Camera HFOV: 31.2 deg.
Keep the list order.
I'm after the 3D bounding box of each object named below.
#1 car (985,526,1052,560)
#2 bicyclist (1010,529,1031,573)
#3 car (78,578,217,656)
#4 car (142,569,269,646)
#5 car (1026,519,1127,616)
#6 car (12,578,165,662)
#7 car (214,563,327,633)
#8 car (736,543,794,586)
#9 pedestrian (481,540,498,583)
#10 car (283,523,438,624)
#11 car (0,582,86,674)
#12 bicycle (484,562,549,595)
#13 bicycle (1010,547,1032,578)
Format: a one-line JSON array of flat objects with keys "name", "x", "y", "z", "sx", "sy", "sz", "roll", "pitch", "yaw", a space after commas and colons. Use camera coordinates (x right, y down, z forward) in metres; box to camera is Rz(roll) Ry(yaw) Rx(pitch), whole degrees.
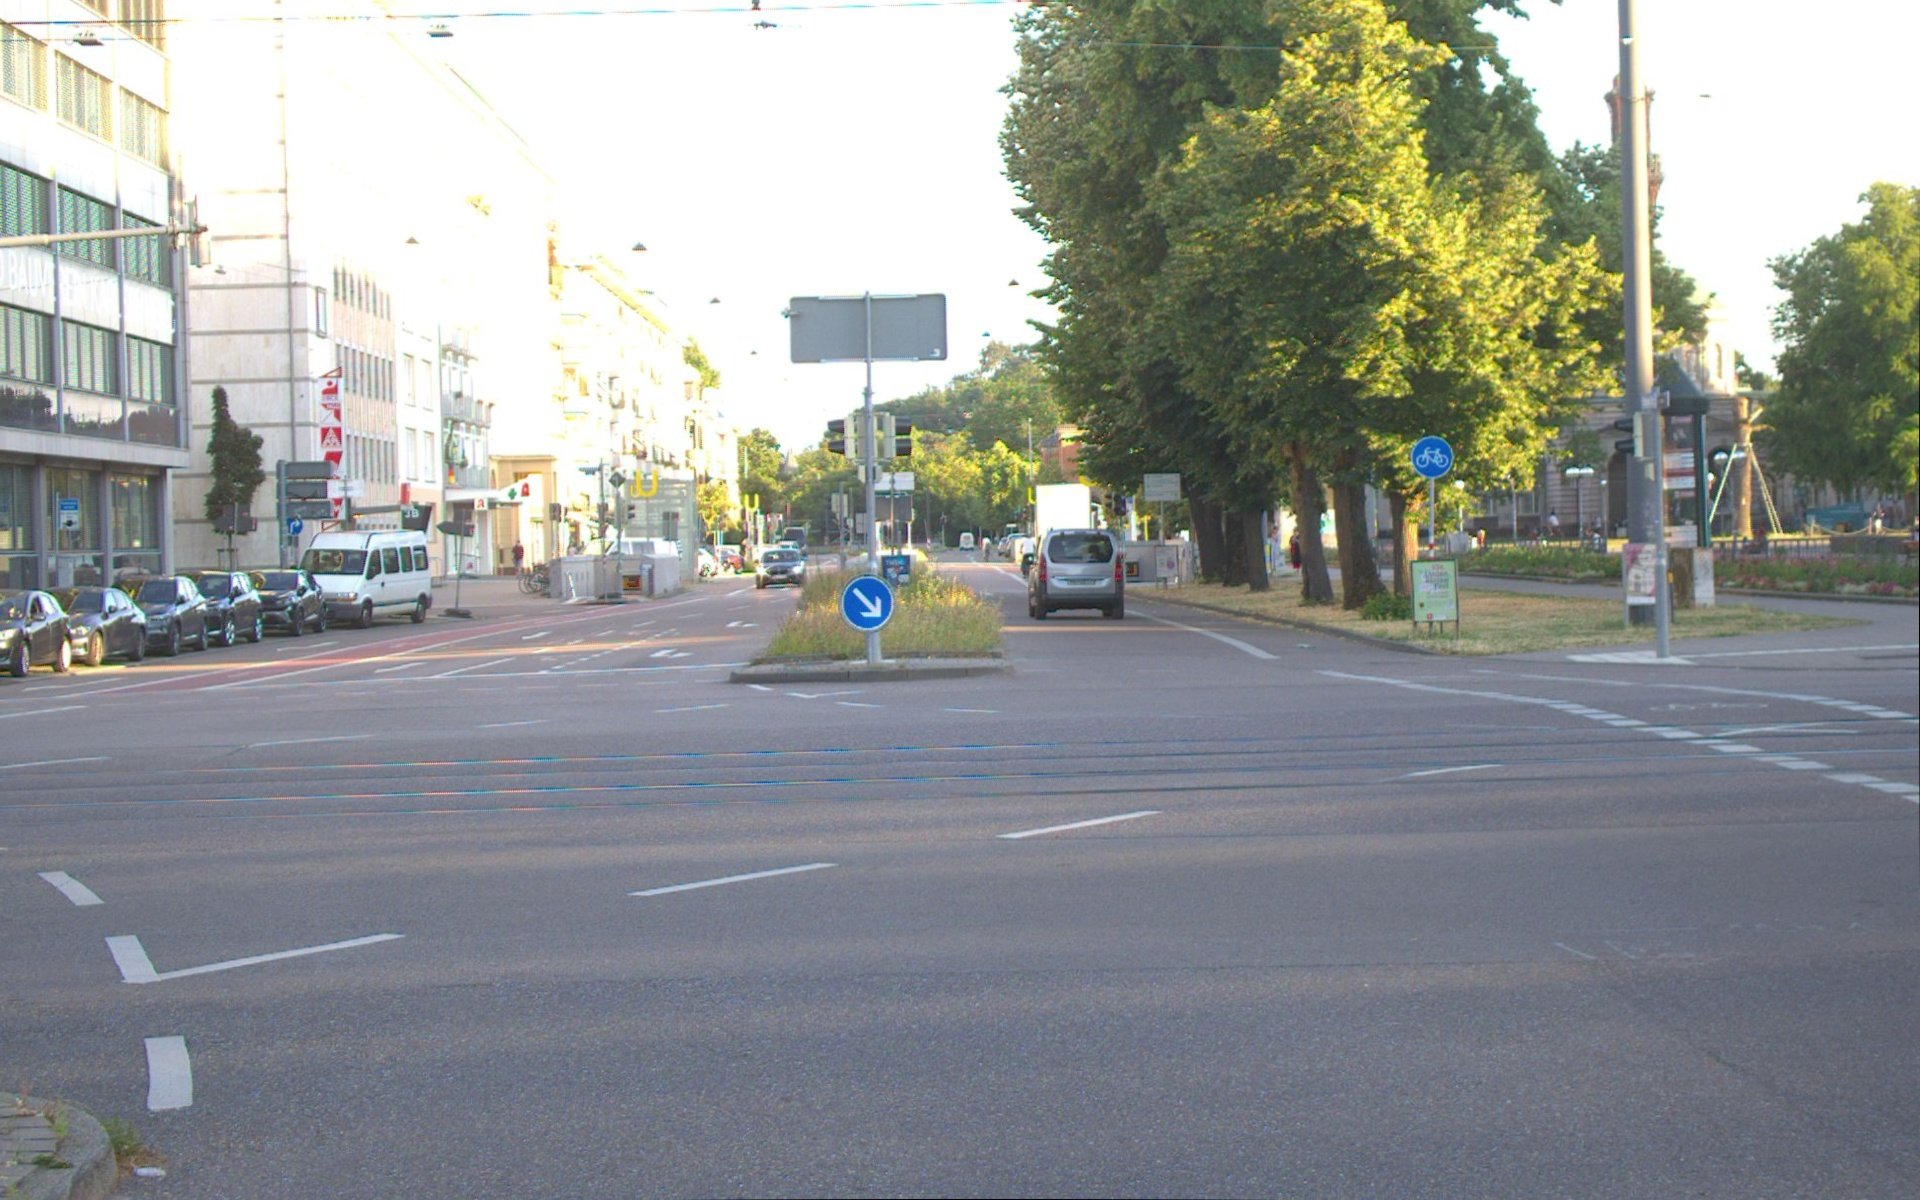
[{"name": "car", "x": 3.633, "y": -3.559, "z": 214.427, "sx": 3.986, "sy": 2.007, "sz": 2.000, "roll": -2, "pitch": 1, "yaw": -4}, {"name": "bicyclist", "x": 2.280, "y": -1.848, "z": 129.888, "sx": 0.746, "sy": 1.658, "sz": 0.873, "roll": -2, "pitch": 1, "yaw": -1}, {"name": "car", "x": -16.648, "y": 0.331, "z": 70.631, "sx": 1.920, "sy": 1.459, "sz": 4.000, "roll": -2, "pitch": 1, "yaw": -1}, {"name": "car", "x": -16.633, "y": 0.145, "z": 75.933, "sx": 1.920, "sy": 1.563, "sz": 4.000, "roll": -2, "pitch": 1, "yaw": -1}, {"name": "car", "x": 2.361, "y": -0.687, "z": 70.671, "sx": 1.763, "sy": 1.882, "sz": 4.500, "roll": -1, "pitch": 1, "yaw": -1}, {"name": "car", "x": -16.637, "y": 0.364, "z": 65.817, "sx": 1.920, "sy": 1.459, "sz": 4.000, "roll": -2, "pitch": 1, "yaw": -1}, {"name": "car", "x": -16.444, "y": -0.070, "z": 82.161, "sx": 1.920, "sy": 1.563, "sz": 4.000, "roll": -2, "pitch": 1, "yaw": -1}, {"name": "car", "x": -7.129, "y": -1.315, "z": 126.042, "sx": 1.863, "sy": 1.514, "sz": 4.000, "roll": -2, "pitch": 1, "yaw": 0}, {"name": "pedestrian", "x": -22.195, "y": -1.831, "z": 162.237, "sx": 0.680, "sy": 2.007, "sz": 0.545, "roll": -2, "pitch": 1, "yaw": 0}, {"name": "car", "x": -15.394, "y": -0.720, "z": 88.615, "sx": 2.002, "sy": 2.469, "sz": 5.865, "roll": -1, "pitch": 1, "yaw": 10}, {"name": "car", "x": -16.538, "y": 0.475, "z": 59.252, "sx": 1.920, "sy": 1.459, "sz": 4.103, "roll": -2, "pitch": 1, "yaw": -1}, {"name": "bicycle", "x": -15.841, "y": -0.781, "z": 122.853, "sx": 2.205, "sy": 1.108, "sz": 0.619, "roll": -2, "pitch": 1, "yaw": -2}, {"name": "bicycle", "x": 2.299, "y": -1.427, "z": 130.129, "sx": 0.746, "sy": 1.140, "sz": 2.505, "roll": -2, "pitch": 1, "yaw": -1}]
